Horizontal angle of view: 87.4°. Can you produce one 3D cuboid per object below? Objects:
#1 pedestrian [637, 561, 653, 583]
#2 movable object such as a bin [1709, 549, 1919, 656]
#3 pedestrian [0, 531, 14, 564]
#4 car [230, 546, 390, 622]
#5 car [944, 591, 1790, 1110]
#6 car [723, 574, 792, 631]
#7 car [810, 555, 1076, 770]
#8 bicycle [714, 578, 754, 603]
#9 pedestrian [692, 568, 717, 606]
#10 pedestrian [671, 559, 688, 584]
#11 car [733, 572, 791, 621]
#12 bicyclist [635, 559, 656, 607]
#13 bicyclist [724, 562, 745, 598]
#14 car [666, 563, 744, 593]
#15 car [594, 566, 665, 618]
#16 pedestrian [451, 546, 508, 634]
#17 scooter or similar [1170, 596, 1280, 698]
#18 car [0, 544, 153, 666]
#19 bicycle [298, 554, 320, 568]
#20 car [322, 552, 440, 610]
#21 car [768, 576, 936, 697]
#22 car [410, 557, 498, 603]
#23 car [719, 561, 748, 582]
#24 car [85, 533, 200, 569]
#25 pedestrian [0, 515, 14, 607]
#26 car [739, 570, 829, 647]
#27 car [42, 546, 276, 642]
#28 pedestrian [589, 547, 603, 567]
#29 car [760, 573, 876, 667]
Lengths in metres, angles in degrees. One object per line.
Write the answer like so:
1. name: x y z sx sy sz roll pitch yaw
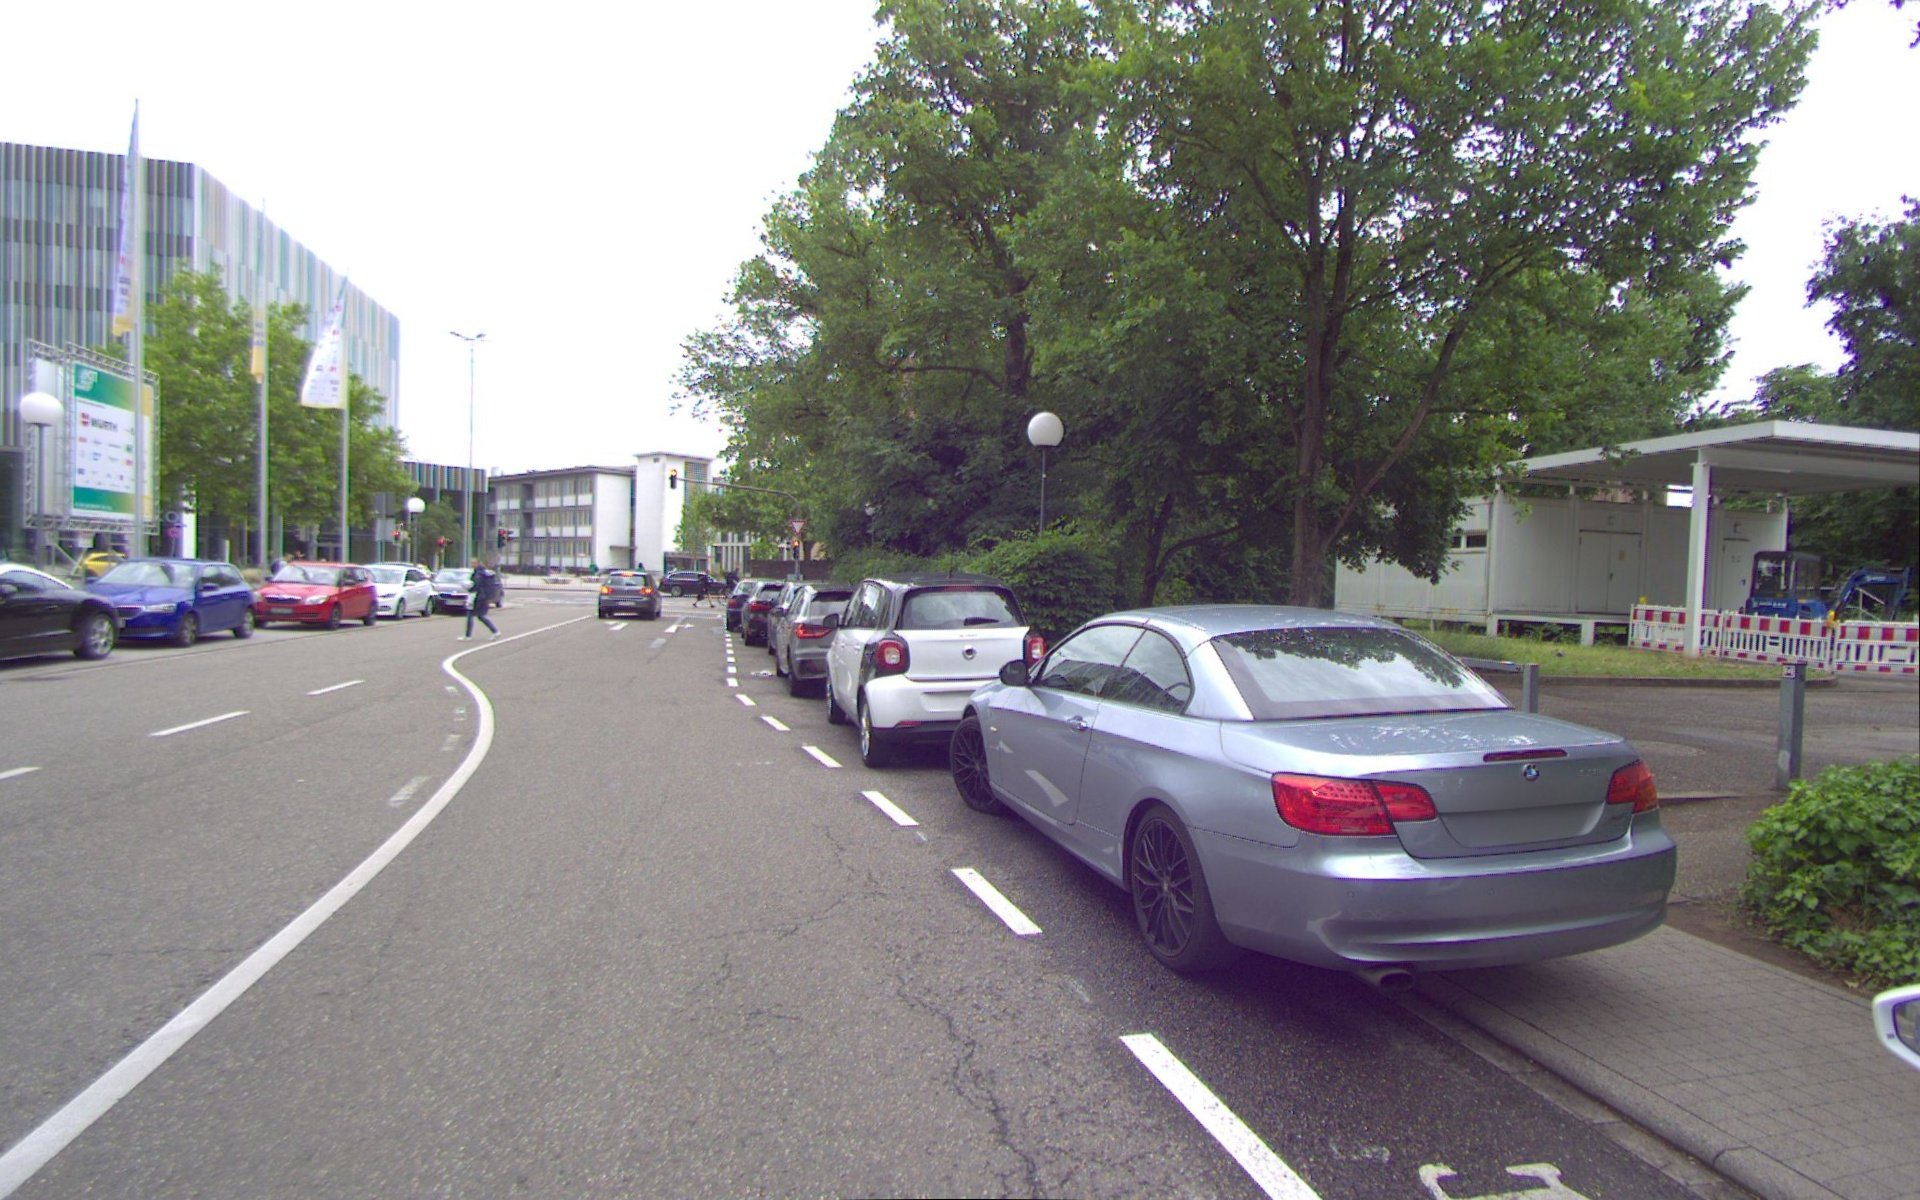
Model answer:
1. pedestrian: -24.171 -2.145 77.132 0.795 1.686 0.789 0 -1 32
2. movable object such as a bin: 20.118 0.075 23.278 4.595 2.200 1.992 3 1 -17
3. pedestrian: -60.990 -3.340 63.805 0.982 2.040 0.855 1 0 -5
4. car: -14.938 -0.386 23.366 1.689 1.493 4.262 4 0 -13
5. car: 1.327 0.718 5.119 1.794 1.407 4.179 1 1 -16
6. car: -5.756 0.005 28.957 1.771 1.427 4.328 2 1 -10
7. car: -0.383 0.455 9.613 1.692 1.607 3.866 1 1 -14
8. bicycle: -10.629 -0.458 47.271 1.769 1.108 0.874 2 1 -10
9. pedestrian: -11.461 -0.599 45.009 1.027 1.641 0.655 2 2 -17
10. pedestrian: -20.683 -2.110 74.153 0.879 1.812 0.843 2 2 34
11. car: -6.692 -0.169 33.937 1.772 1.489 4.238 2 1 -11
12. bicyclist: -12.150 -0.655 38.797 0.649 1.803 0.979 2 2 -21
13. bicyclist: -10.608 -0.934 47.268 0.852 1.663 0.874 2 1 -10
14. car: -14.423 -1.249 56.935 4.219 1.509 1.994 1 2 -14
15. car: -10.615 -0.307 32.480 1.758 1.517 4.156 2 1 -13
16. pedestrian: -9.647 -0.194 20.205 0.728 1.684 0.966 3 0 -10
17. scooter or similar: 3.429 0.584 13.022 1.282 1.226 0.450 2 2 28
18. car: -12.627 0.036 12.808 1.822 1.461 4.408 2 0 -12
19. bicycle: -49.827 -2.978 76.840 1.972 0.948 0.483 4 3 27
20. car: -16.331 -0.559 28.541 1.835 1.472 3.848 2 1 -13
21. car: -1.659 0.416 14.062 1.739 1.431 3.996 2 1 -15
22. car: -16.918 -0.715 33.467 1.849 1.420 4.430 -1 2 -37
23. car: -25.217 -3.150 112.138 1.961 1.601 4.407 -6 -5 2
24. car: -42.302 -2.523 52.087 4.125 1.640 1.993 2 1 -16
25. pedestrian: -17.766 -0.713 18.044 0.724 1.663 0.929 1 2 -11
26. car: -4.211 0.143 23.581 1.773 1.582 4.518 2 1 -13
27. car: -13.928 -0.158 17.803 1.673 1.430 4.360 3 1 -16
28. pedestrian: -32.244 -3.785 88.988 0.889 1.737 0.950 2 2 -9
29. car: -2.720 0.290 18.553 1.737 1.491 3.814 2 1 -13
